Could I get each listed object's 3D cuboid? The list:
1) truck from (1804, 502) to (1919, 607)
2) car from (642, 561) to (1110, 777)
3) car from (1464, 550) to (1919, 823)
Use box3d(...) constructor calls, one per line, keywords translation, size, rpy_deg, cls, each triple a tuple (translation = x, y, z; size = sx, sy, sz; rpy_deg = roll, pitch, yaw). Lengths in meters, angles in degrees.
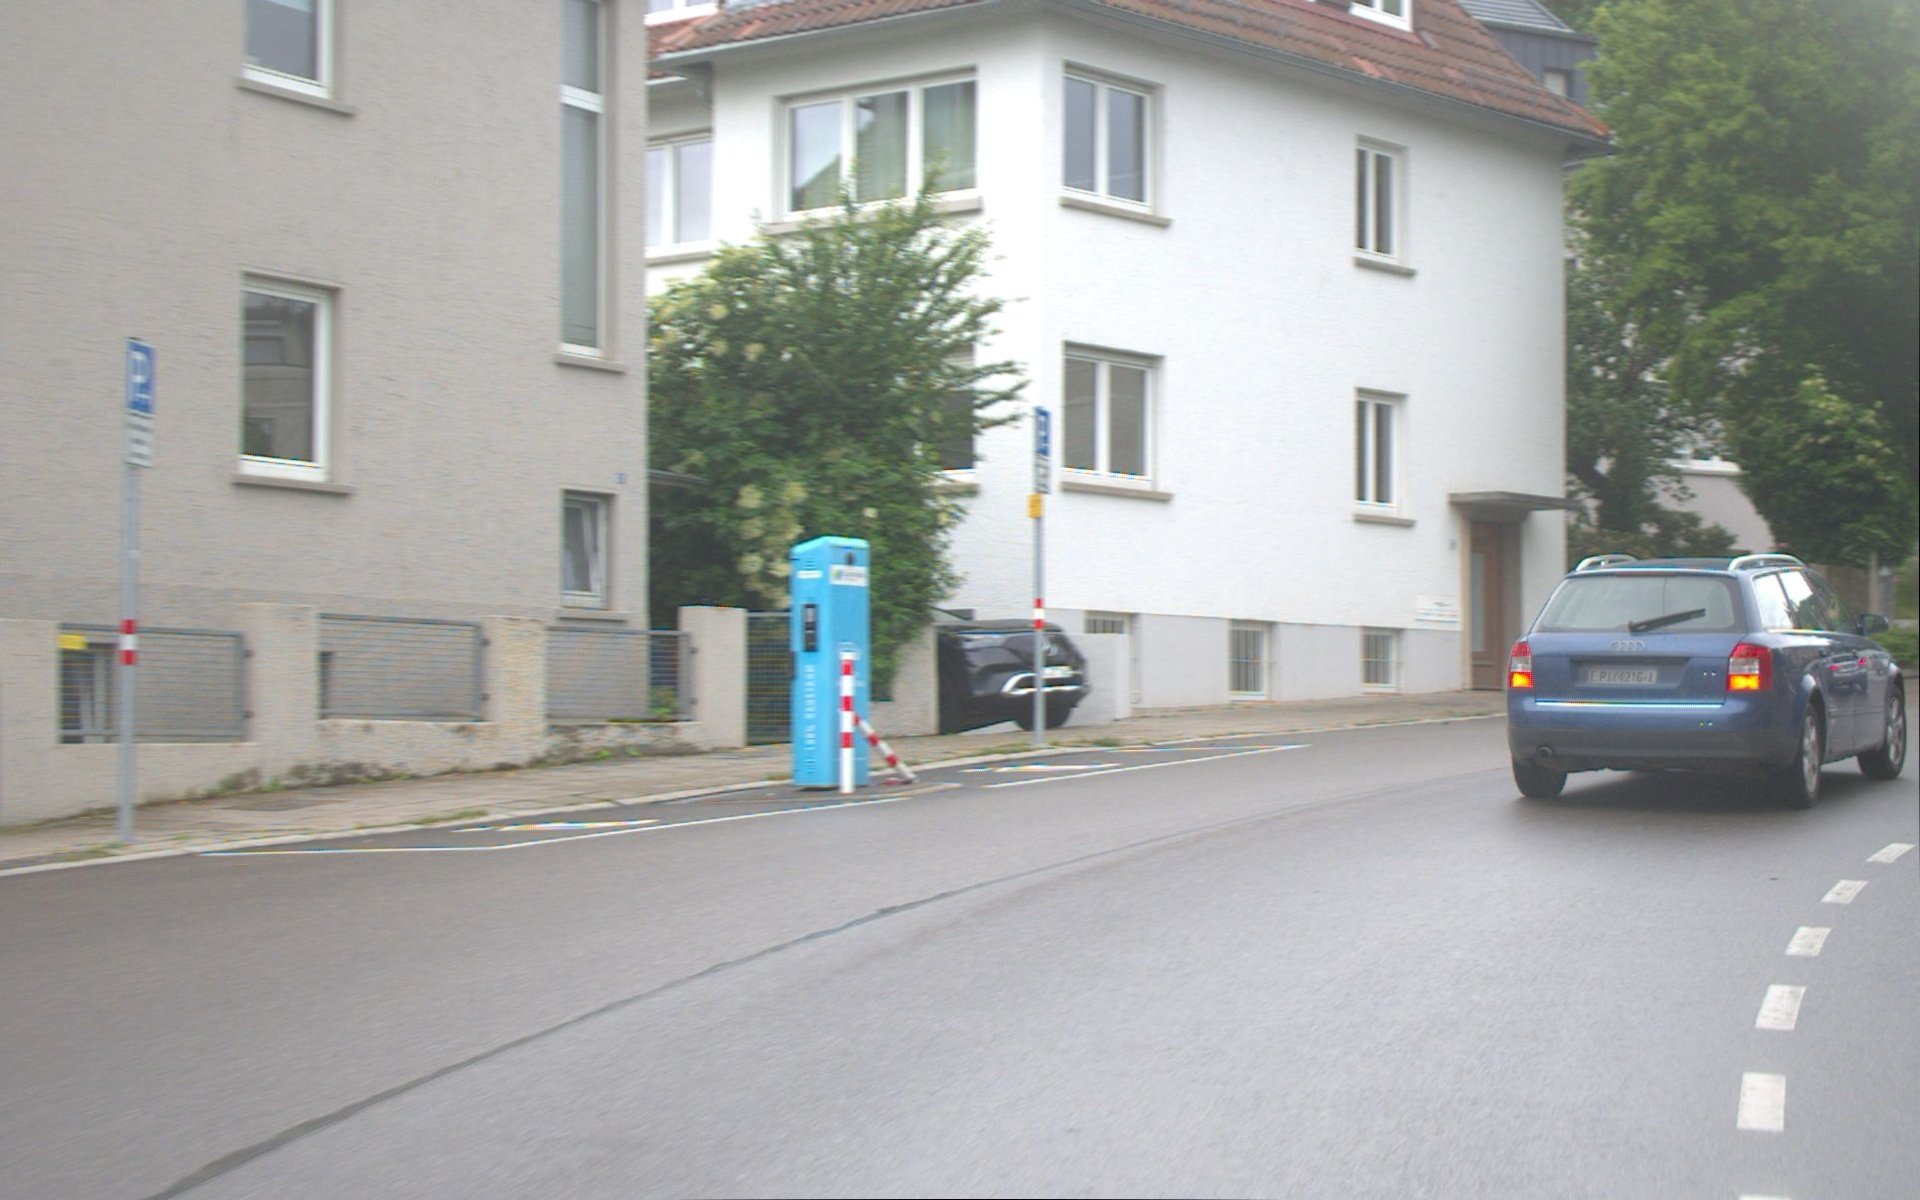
box3d(translation=(21.659, -0.993, 74.550), size=(2.307, 2.261, 6.810), rpy_deg=(0, 1, -32), cls="truck")
box3d(translation=(-0.879, 0.702, 34.184), size=(4.249, 1.618, 1.995), rpy_deg=(-9, -5, 39), cls="car")
box3d(translation=(4.568, 0.444, 21.007), size=(1.814, 1.434, 4.076), rpy_deg=(0, 2, 26), cls="car")
